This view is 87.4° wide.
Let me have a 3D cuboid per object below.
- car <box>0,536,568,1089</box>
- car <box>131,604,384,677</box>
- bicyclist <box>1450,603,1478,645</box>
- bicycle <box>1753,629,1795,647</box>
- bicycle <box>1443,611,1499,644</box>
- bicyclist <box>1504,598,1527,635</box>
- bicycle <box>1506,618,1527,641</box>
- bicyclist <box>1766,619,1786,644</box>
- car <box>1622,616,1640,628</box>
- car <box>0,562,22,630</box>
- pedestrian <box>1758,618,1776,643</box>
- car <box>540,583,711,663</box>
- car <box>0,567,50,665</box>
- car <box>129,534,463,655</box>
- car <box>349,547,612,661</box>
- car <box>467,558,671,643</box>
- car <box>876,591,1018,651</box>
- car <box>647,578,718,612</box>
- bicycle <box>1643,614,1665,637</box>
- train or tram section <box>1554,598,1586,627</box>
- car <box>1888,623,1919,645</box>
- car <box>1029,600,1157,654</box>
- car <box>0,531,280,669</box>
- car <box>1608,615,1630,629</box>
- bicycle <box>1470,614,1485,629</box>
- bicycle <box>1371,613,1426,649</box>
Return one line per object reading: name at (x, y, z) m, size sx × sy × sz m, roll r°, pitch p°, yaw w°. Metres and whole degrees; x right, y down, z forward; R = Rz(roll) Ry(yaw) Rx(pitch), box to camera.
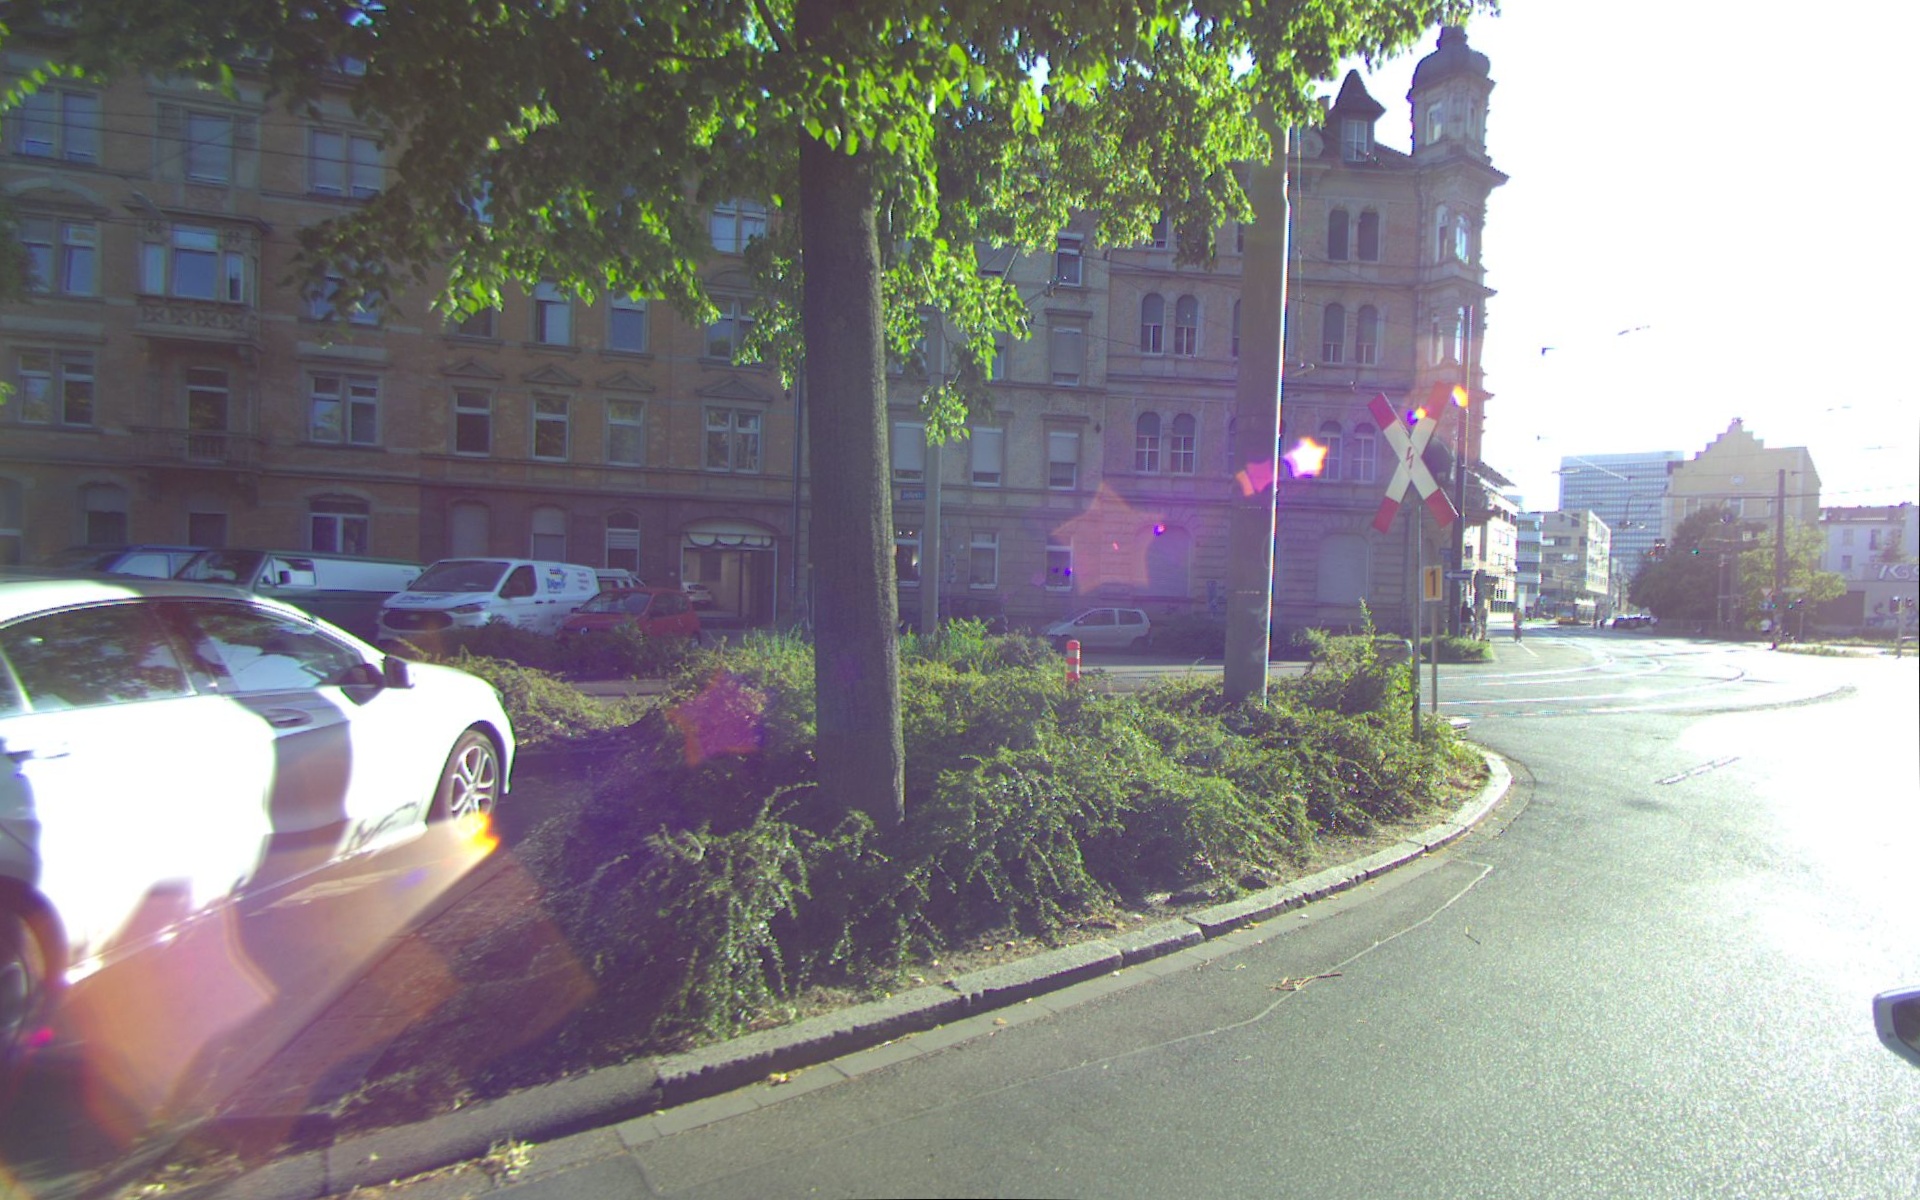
car at (-3.348, 0.496, 4.024) m, size 1.739 × 1.449 × 4.294 m, roll 3°, pitch 2°, yaw 1°
car at (-17.004, 0.958, 24.616) m, size 4.696 × 1.562 × 1.849 m, roll 1°, pitch 3°, yaw -18°
bicyclist at (18.518, 0.871, 36.904) m, size 0.692 × 1.511 × 0.591 m, roll 1°, pitch 0°, yaw -20°
bicycle at (48.468, 2.257, 59.821) m, size 1.807 × 0.998 × 0.732 m, roll 2°, pitch 0°, yaw 33°
bicycle at (18.864, 1.024, 37.084) m, size 2.093 × 1.148 × 0.500 m, roll 2°, pitch 0°, yaw -20°
bicyclist at (30.281, 0.904, 54.755) m, size 1.013 × 1.916 × 1.111 m, roll 2°, pitch 0°, yaw 27°
bicycle at (30.204, 1.594, 54.520) m, size 0.868 × 1.171 × 2.321 m, roll 2°, pitch 0°, yaw 27°
bicyclist at (48.552, 1.861, 59.774) m, size 0.793 × 1.432 × 0.622 m, roll 2°, pitch 0°, yaw 33°
car at (91.989, 2.972, 137.688) m, size 1.967 × 1.506 × 3.986 m, roll 2°, pitch 0°, yaw 36°
car at (-24.174, -0.098, 22.611) m, size 3.995 × 1.539 × 1.849 m, roll 1°, pitch 3°, yaw -18°
pedestrian at (57.153, 2.135, 71.164) m, size 0.914 × 1.714 × 0.775 m, roll 2°, pitch 1°, yaw 36°
car at (-6.296, 0.408, 19.349) m, size 1.681 × 1.347 × 3.635 m, roll 2°, pitch 0°, yaw 7°
car at (-17.352, 0.244, 16.205) m, size 1.627 × 1.662 × 3.653 m, roll 2°, pitch 0°, yaw 14°
car at (-11.333, -0.074, 17.682) m, size 2.043 × 1.788 × 4.839 m, roll 2°, pitch 0°, yaw 12°
car at (-8.663, 0.069, 18.805) m, size 2.043 × 1.788 × 5.062 m, roll 2°, pitch 0°, yaw 6°
car at (-10.310, 0.009, 26.869) m, size 4.921 × 2.091 × 1.850 m, roll 1°, pitch 3°, yaw -18°
car at (-0.406, 0.613, 29.671) m, size 3.810 × 1.584 × 1.849 m, roll 1°, pitch 3°, yaw -18°
car at (-14.883, -0.305, 53.894) m, size 3.448 × 1.595 × 1.851 m, roll 4°, pitch 3°, yaw 33°
bicycle at (58.104, 2.118, 84.102) m, size 0.562 × 1.830 × 1.343 m, roll 1°, pitch 0°, yaw -38°
train or tram section at (82.533, 1.746, 135.719) m, size 2.213 × 3.622 × 14.222 m, roll 2°, pitch 0°, yaw 37°
car at (67.534, 2.404, 69.583) m, size 1.762 × 1.507 × 4.447 m, roll 2°, pitch 0°, yaw -34°
car at (4.005, 0.811, 30.486) m, size 3.432 × 1.448 × 1.853 m, roll 1°, pitch 3°, yaw -10°
car at (-14.143, 0.000, 17.010) m, size 1.960 × 2.040 × 4.002 m, roll 2°, pitch 0°, yaw 16°
car at (76.977, 2.538, 117.273) m, size 1.967 × 1.483 × 3.986 m, roll 2°, pitch 0°, yaw 36°
bicycle at (39.817, 1.627, 77.278) m, size 0.932 × 1.112 × 1.996 m, roll 2°, pitch 0°, yaw 27°
bicycle at (15.944, 1.122, 36.498) m, size 1.758 × 1.222 × 0.502 m, roll 2°, pitch 3°, yaw -7°
